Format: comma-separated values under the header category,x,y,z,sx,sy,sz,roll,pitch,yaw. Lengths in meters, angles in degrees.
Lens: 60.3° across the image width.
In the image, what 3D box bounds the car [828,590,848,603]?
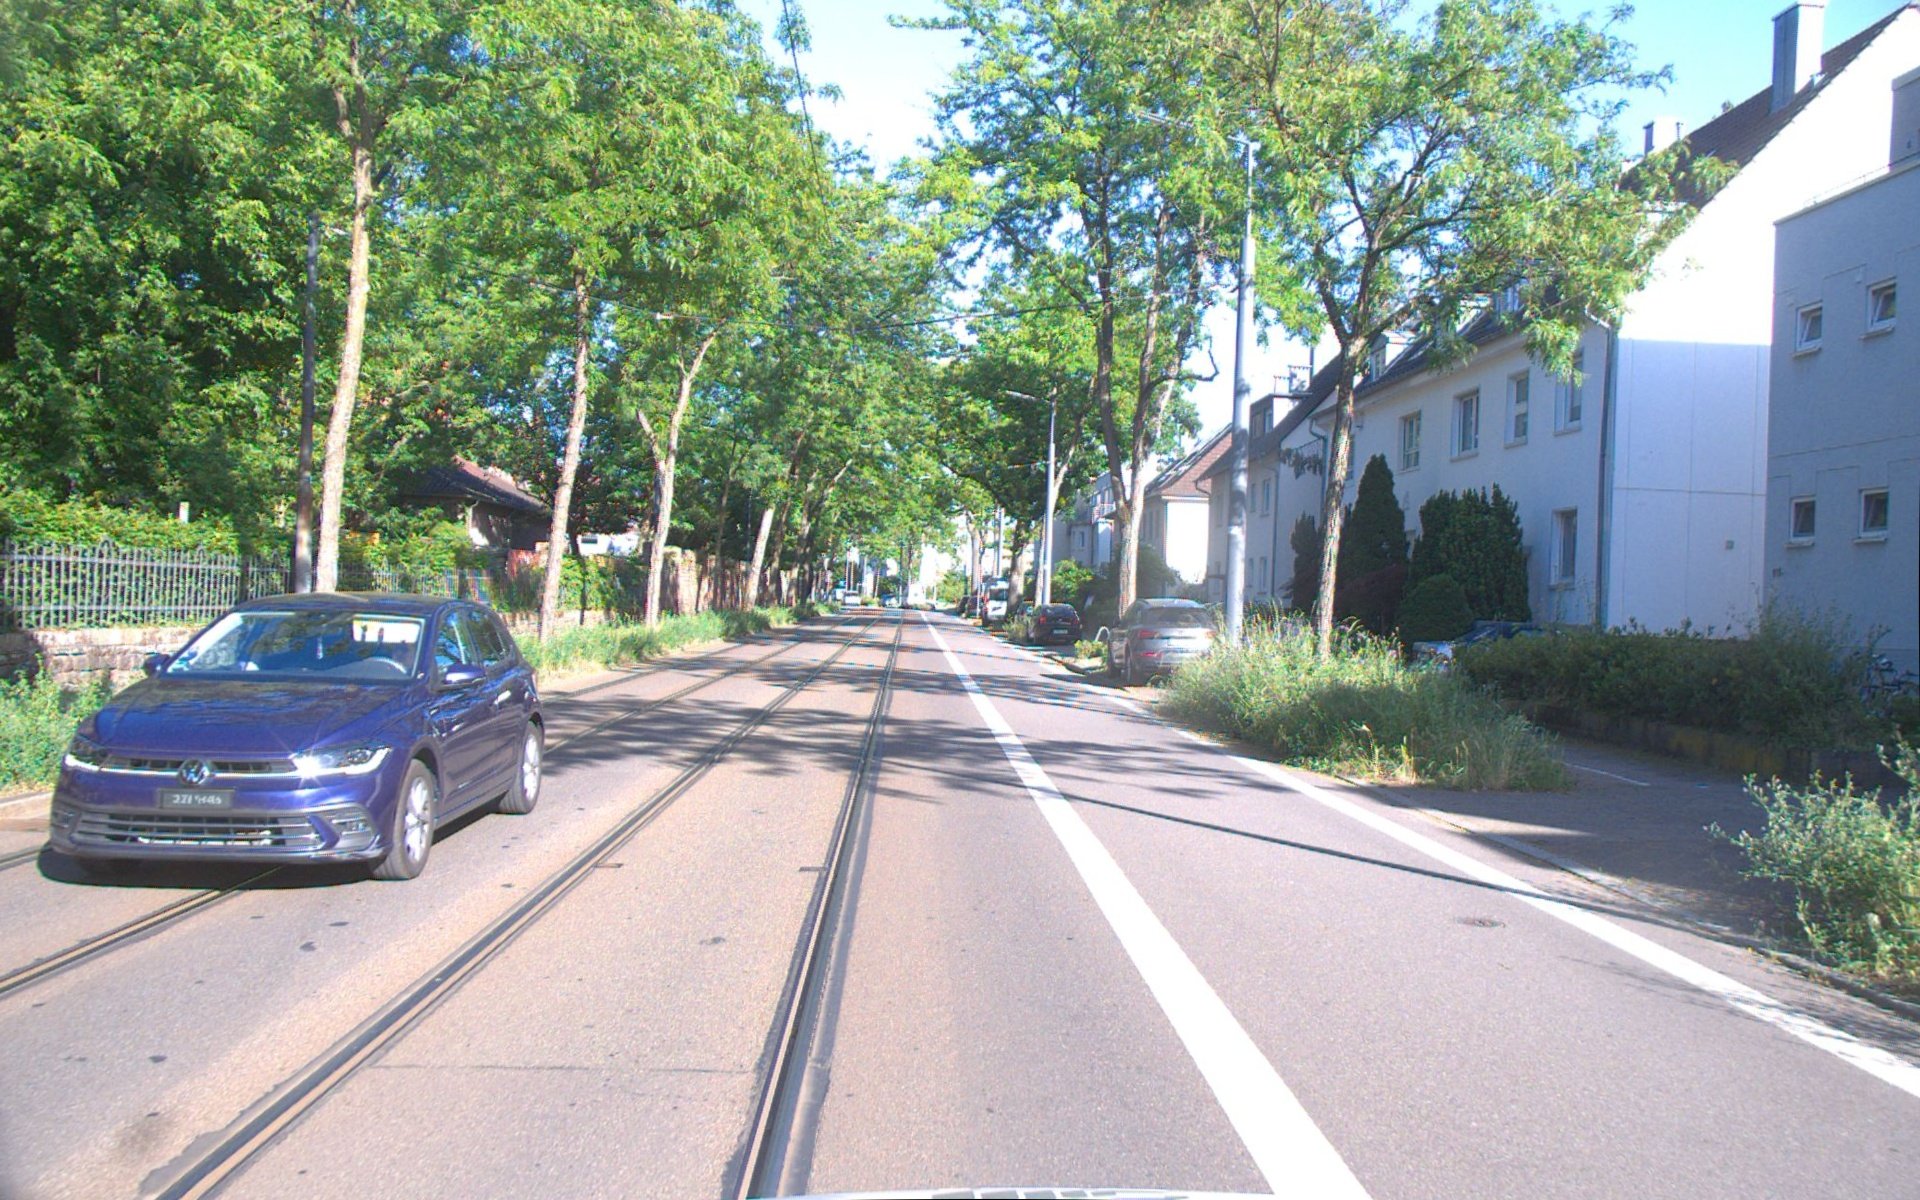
category,x,y,z,sx,sy,sz,roll,pitch,yaw
car,-17.986,-0.506,243.397,1.973,1.943,4.368,0,0,-19

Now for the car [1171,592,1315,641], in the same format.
category,x,y,z,sx,sy,sz,roll,pitch,yaw
car,9.097,0.523,53.369,4.330,1.515,1.858,-1,0,1

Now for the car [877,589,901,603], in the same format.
category,x,y,z,sx,sy,sz,roll,pitch,yaw
car,-8.371,-0.475,193.912,1.969,1.588,4.376,1,0,-14

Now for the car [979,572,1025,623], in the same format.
category,x,y,z,sx,sy,sz,roll,pitch,yaw
car,2.261,-0.145,90.894,2.200,2.700,5.583,0,0,-2

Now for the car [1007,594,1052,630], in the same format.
category,x,y,z,sx,sy,sz,roll,pitch,yaw
car,2.898,0.486,69.429,1.594,1.422,3.644,-1,1,-2

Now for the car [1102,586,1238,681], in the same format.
category,x,y,z,sx,sy,sz,roll,pitch,yaw
car,4.125,0.613,33.242,1.954,1.734,4.475,-1,0,-3

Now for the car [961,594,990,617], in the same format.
category,x,y,z,sx,sy,sz,roll,pitch,yaw
car,1.124,0.414,122.955,1.962,1.704,4.390,0,0,-2

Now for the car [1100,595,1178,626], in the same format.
category,x,y,z,sx,sy,sz,roll,pitch,yaw
car,8.571,0.485,79.413,3.341,1.461,1.728,0,0,-15

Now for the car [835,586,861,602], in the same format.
category,x,y,z,sx,sy,sz,roll,pitch,yaw
car,-12.576,-0.681,185.834,1.838,1.704,4.150,1,0,-19

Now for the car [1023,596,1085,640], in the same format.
category,x,y,z,sx,sy,sz,roll,pitch,yaw
car,3.366,0.629,59.827,1.748,1.473,4.298,-1,1,-3

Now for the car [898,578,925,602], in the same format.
category,x,y,z,sx,sy,sz,roll,pitch,yaw
car,-5.175,-1.053,176.307,1.960,2.501,4.491,1,0,-14

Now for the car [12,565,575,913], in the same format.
category,x,y,z,sx,sy,sz,roll,pitch,yaw
car,-3.569,0.646,9.727,1.713,1.550,4.068,2,0,-2

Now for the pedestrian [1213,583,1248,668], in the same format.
category,x,y,z,sx,sy,sz,roll,pitch,yaw
pedestrian,6.152,0.571,37.619,0.613,1.903,0.731,-1,0,-3

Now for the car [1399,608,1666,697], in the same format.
category,x,y,z,sx,sy,sz,roll,pitch,yaw
car,9.882,0.892,28.753,3.969,1.366,1.877,2,0,-2

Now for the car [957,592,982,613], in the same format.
category,x,y,z,sx,sy,sz,roll,pitch,yaw
car,0.800,0.212,140.429,1.961,1.704,4.393,0,0,2
